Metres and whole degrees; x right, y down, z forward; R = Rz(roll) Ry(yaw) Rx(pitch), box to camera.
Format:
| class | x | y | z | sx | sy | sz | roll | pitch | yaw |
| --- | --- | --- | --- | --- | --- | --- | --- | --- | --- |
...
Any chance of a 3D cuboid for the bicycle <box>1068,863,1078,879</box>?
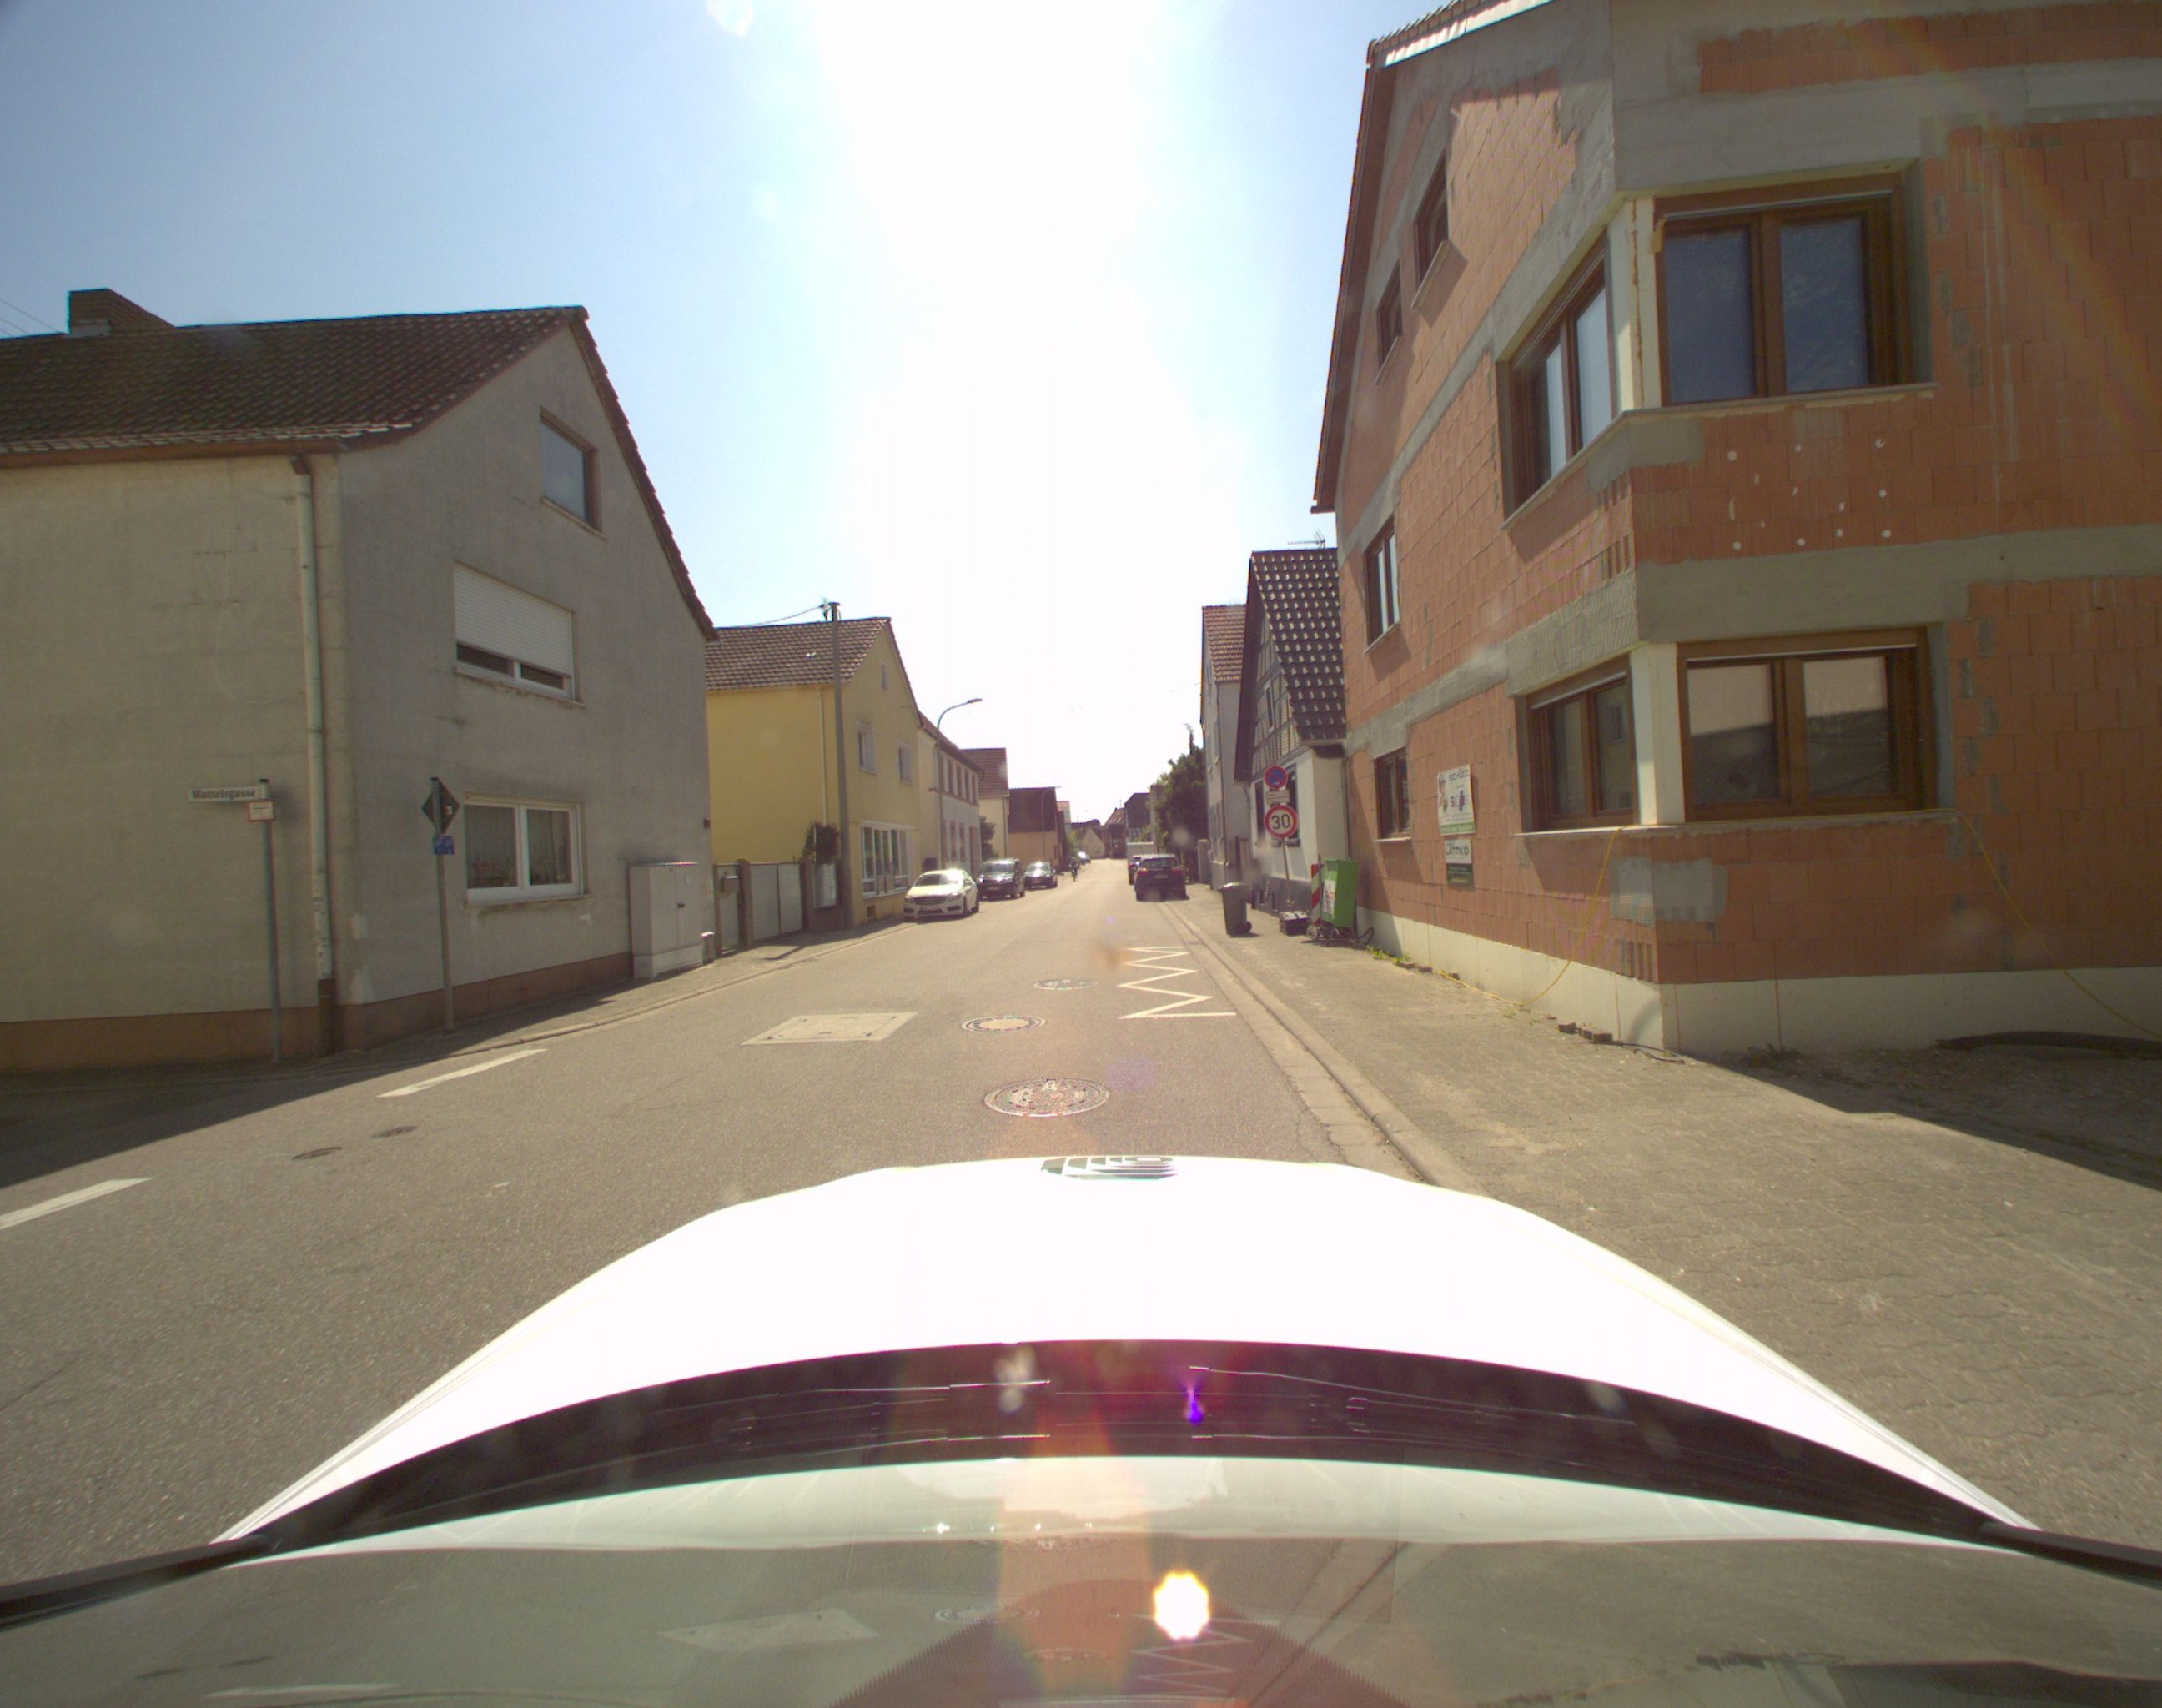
| class | x | y | z | sx | sy | sz | roll | pitch | yaw |
| --- | --- | --- | --- | --- | --- | --- | --- | --- | --- |
| bicycle | -0.577 | 1.256 | 60.398 | 0.587 | 1.148 | 1.948 | -4 | 0 | 0 |

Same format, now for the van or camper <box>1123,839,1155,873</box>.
| class | x | y | z | sx | sy | sz | roll | pitch | yaw |
| --- | --- | --- | --- | --- | --- | --- | --- | --- | --- |
| van or camper | 5.015 | 0.199 | 70.968 | 2.512 | 2.697 | 4.558 | -3 | 0 | 2 |

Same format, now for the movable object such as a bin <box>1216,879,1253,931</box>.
| class | x | y | z | sx | sy | sz | roll | pitch | yaw |
| --- | --- | --- | --- | --- | --- | --- | --- | --- | --- |
| movable object such as a bin | 2.891 | 0.958 | 15.314 | 0.533 | 0.913 | 0.554 | -3 | -1 | 20 |

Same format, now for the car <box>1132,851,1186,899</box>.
| class | x | y | z | sx | sy | sz | roll | pitch | yaw |
| --- | --- | --- | --- | --- | --- | --- | --- | --- | --- |
| car | 2.878 | 0.746 | 30.599 | 1.790 | 1.560 | 4.636 | -3 | 0 | 4 |

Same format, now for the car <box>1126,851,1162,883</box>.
| class | x | y | z | sx | sy | sz | roll | pitch | yaw |
| --- | --- | --- | --- | --- | --- | --- | --- | --- | --- |
| car | 3.667 | 0.725 | 46.926 | 1.784 | 1.631 | 4.369 | -4 | 0 | 7 |

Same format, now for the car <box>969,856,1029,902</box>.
| class | x | y | z | sx | sy | sz | roll | pitch | yaw |
| --- | --- | --- | --- | --- | --- | --- | --- | --- | --- |
| car | -3.598 | 1.059 | 36.575 | 1.826 | 1.837 | 4.358 | -4 | 0 | 4 |

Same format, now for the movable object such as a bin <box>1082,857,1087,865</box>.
| class | x | y | z | sx | sy | sz | roll | pitch | yaw |
| --- | --- | --- | --- | --- | --- | --- | --- | --- | --- |
| movable object such as a bin | 0.534 | 1.007 | 122.114 | 0.686 | 1.185 | 0.715 | -4 | 0 | 3 |

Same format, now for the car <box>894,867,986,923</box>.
| class | x | y | z | sx | sy | sz | roll | pitch | yaw |
| --- | --- | --- | --- | --- | --- | --- | --- | --- | --- |
| car | -4.259 | 1.196 | 25.232 | 1.827 | 1.464 | 4.274 | -3 | 0 | 3 |

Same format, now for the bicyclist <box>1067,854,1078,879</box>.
| class | x | y | z | sx | sy | sz | roll | pitch | yaw |
| --- | --- | --- | --- | --- | --- | --- | --- | --- | --- |
| bicyclist | -0.622 | 0.921 | 60.371 | 0.701 | 1.771 | 0.624 | -4 | 0 | -1 |

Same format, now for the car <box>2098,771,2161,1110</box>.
| class | x | y | z | sx | sy | sz | roll | pitch | yaw |
| --- | --- | --- | --- | --- | --- | --- | --- | --- | --- |
| car | 6.818 | 0.246 | 2.929 | 4.078 | 1.507 | 1.868 | -4 | 0 | -3 |

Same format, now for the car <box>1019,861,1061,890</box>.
| class | x | y | z | sx | sy | sz | roll | pitch | yaw |
| --- | --- | --- | --- | --- | --- | --- | --- | --- | --- |
| car | -2.382 | 1.225 | 48.285 | 1.836 | 1.527 | 4.770 | -3 | 0 | 4 |
